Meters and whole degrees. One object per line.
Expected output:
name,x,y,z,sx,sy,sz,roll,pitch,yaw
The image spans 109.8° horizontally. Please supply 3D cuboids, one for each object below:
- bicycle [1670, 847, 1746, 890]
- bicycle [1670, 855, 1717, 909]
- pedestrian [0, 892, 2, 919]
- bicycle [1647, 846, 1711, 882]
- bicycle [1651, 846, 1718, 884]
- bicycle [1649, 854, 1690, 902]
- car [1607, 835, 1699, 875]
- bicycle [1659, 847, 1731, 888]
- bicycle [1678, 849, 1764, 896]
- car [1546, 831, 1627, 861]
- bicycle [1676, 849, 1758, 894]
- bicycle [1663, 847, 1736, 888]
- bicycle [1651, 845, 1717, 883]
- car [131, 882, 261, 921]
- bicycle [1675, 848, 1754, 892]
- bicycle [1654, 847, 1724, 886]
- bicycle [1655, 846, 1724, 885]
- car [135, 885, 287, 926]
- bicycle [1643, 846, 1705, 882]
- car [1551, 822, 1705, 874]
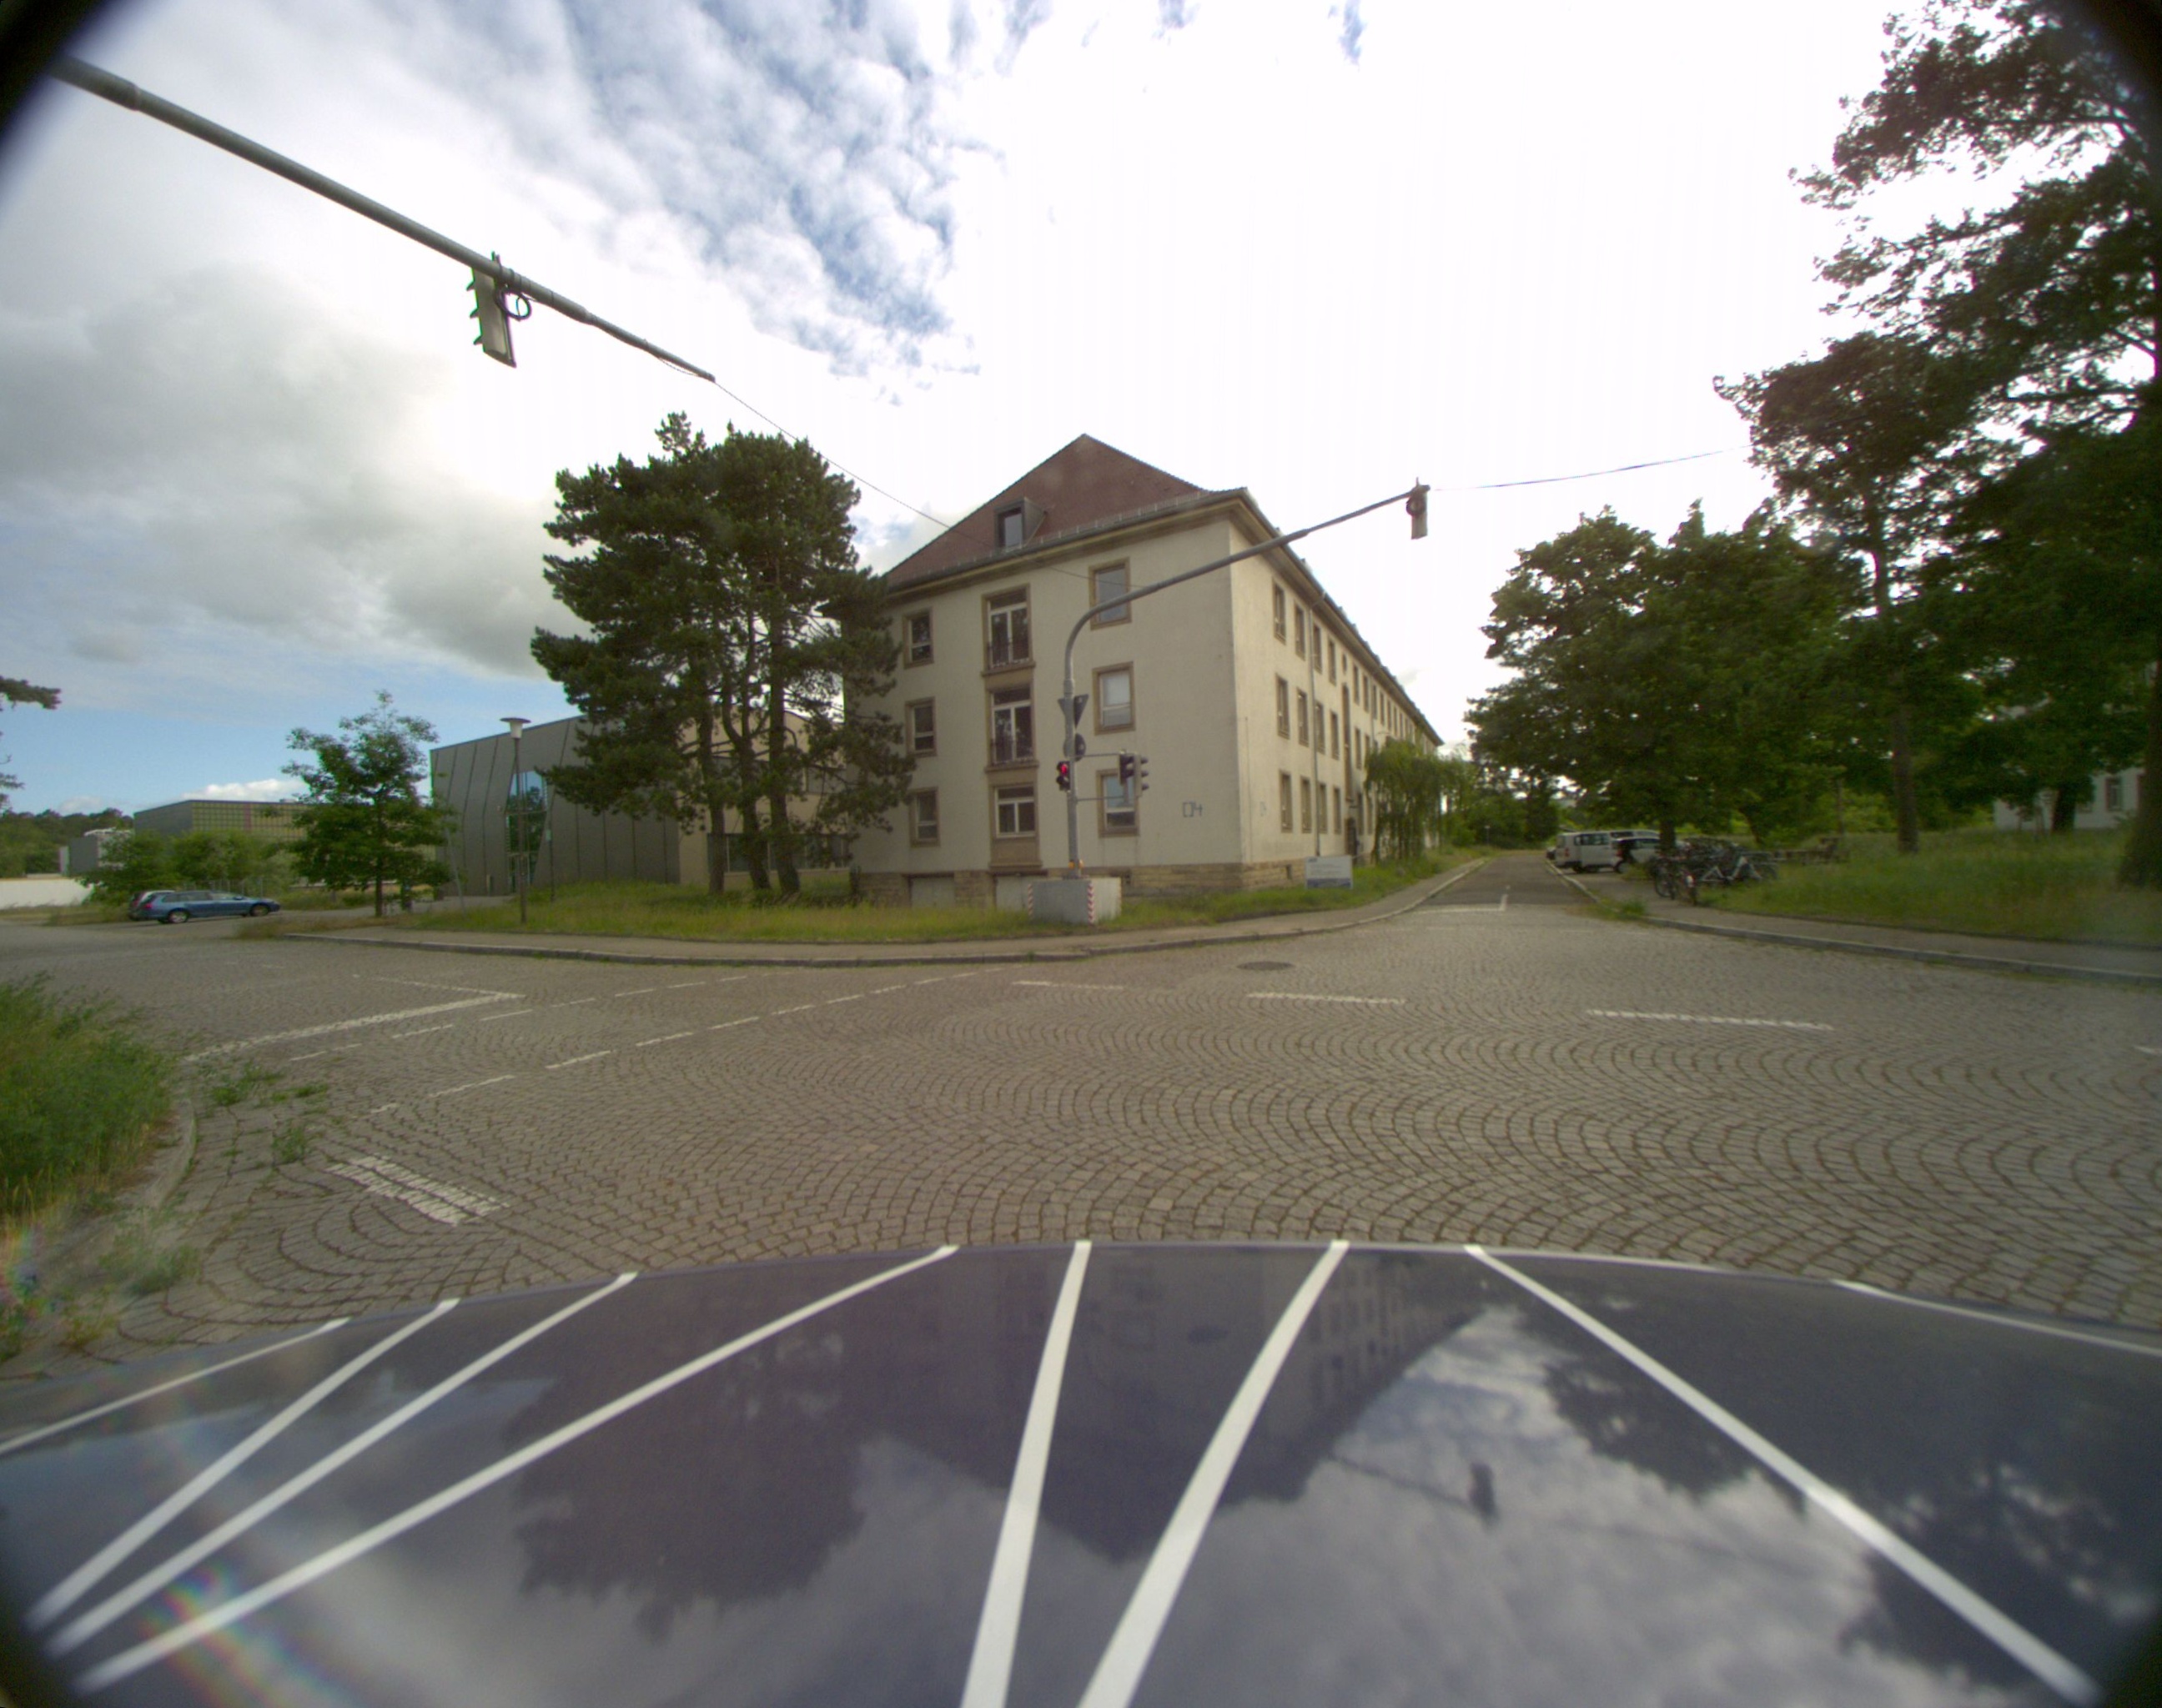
bicycle,16.971,0.401,20.594,1.454,1.032,0.498,-5,0,25
bicycle,13.262,0.590,16.480,0.496,1.068,1.419,-5,0,29
pedestrian,-67.444,3.204,46.872,1.004,1.713,0.877,-2,1,31
bicycle,18.822,0.316,23.946,1.454,1.032,0.498,-5,0,25
bicycle,18.286,0.328,23.042,1.454,1.032,0.498,-5,0,25
bicycle,13.903,0.555,17.966,0.496,1.032,1.419,-5,0,29
car,23.390,0.042,31.175,2.767,1.407,1.595,-5,-1,29
bicycle,17.463,0.388,21.651,1.454,1.032,0.498,-5,0,25
bicycle,15.624,0.452,18.579,1.454,1.032,0.498,-5,0,23
car,32.922,-0.499,49.568,4.083,1.757,1.833,-2,2,22
bicycle,16.075,0.445,19.238,1.454,1.032,0.498,-5,0,25
bicycle,17.256,0.370,21.228,1.454,1.032,0.498,-5,0,25
bicycle,18.602,0.315,23.470,1.454,1.032,0.498,-5,0,25
car,-48.074,2.540,41.363,1.834,1.578,4.201,-2,3,28
bicycle,16.704,0.421,20.072,1.454,1.032,0.498,-5,0,25
bicycle,17.671,0.365,22.100,1.454,1.032,0.498,-5,0,25
bicycle,18.077,0.345,22.596,1.454,1.032,0.498,-5,0,25
car,-42.094,2.449,36.899,1.834,1.455,4.423,-2,3,28
bicycle,19.011,0.311,24.386,1.454,1.032,0.498,-5,0,25
car,24.559,-0.242,34.355,5.161,1.905,2.038,-4,-1,17
